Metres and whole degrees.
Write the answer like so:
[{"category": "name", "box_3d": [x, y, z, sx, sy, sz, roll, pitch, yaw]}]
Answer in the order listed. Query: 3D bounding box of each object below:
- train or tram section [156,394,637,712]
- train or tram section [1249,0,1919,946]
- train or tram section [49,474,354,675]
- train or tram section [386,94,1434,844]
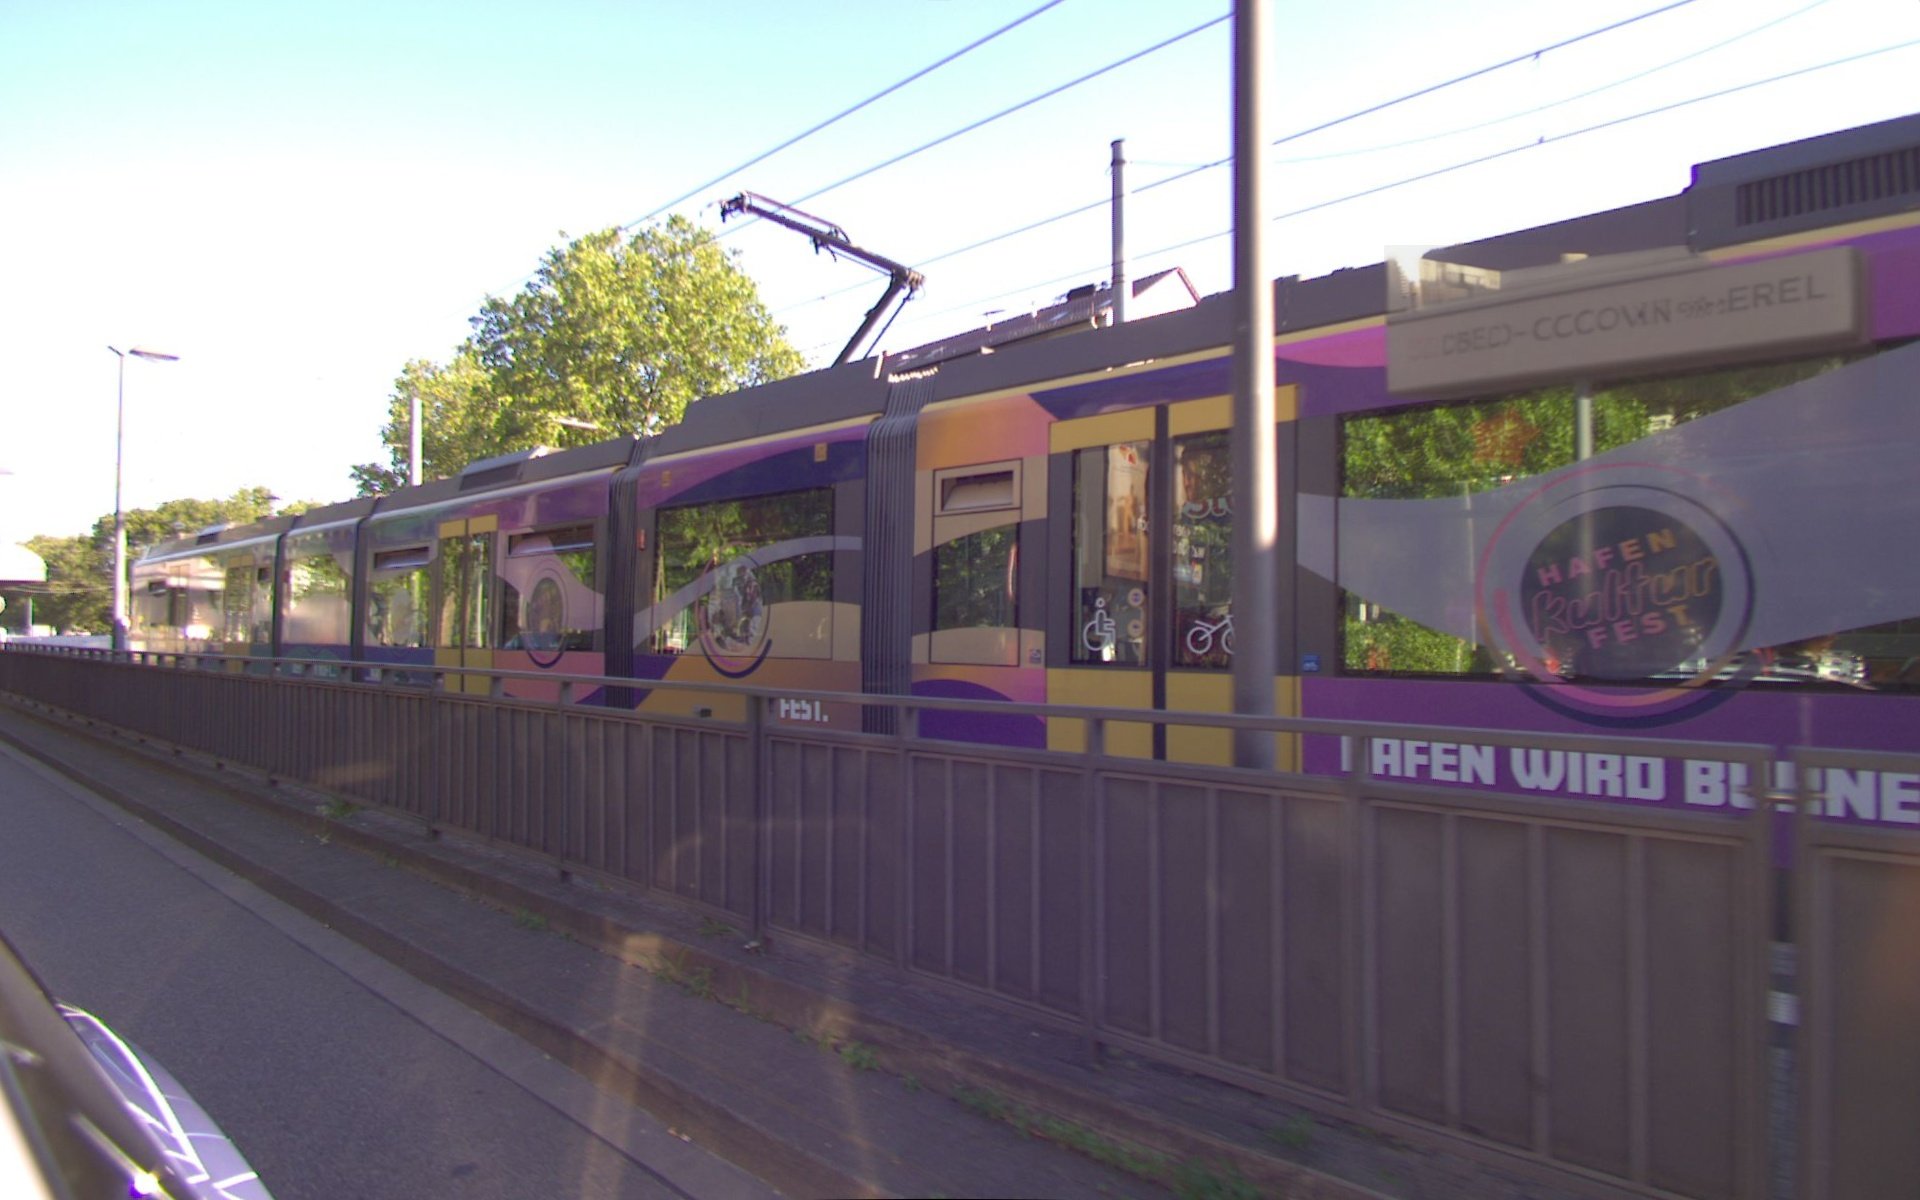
[{"category": "train or tram section", "box_3d": [-9.198, -0.421, 15.660, 10.088, 3.544, 3.004, -1, -3, 40]}, {"category": "train or tram section", "box_3d": [6.185, -0.621, 2.699, 10.088, 3.544, 3.004, -1, -3, 40]}, {"category": "train or tram section", "box_3d": [-16.921, -0.340, 22.164, 10.088, 3.544, 3.004, -1, -3, 40]}, {"category": "train or tram section", "box_3d": [-1.490, -0.525, 9.161, 10.088, 3.544, 3.004, -1, -3, 40]}]
